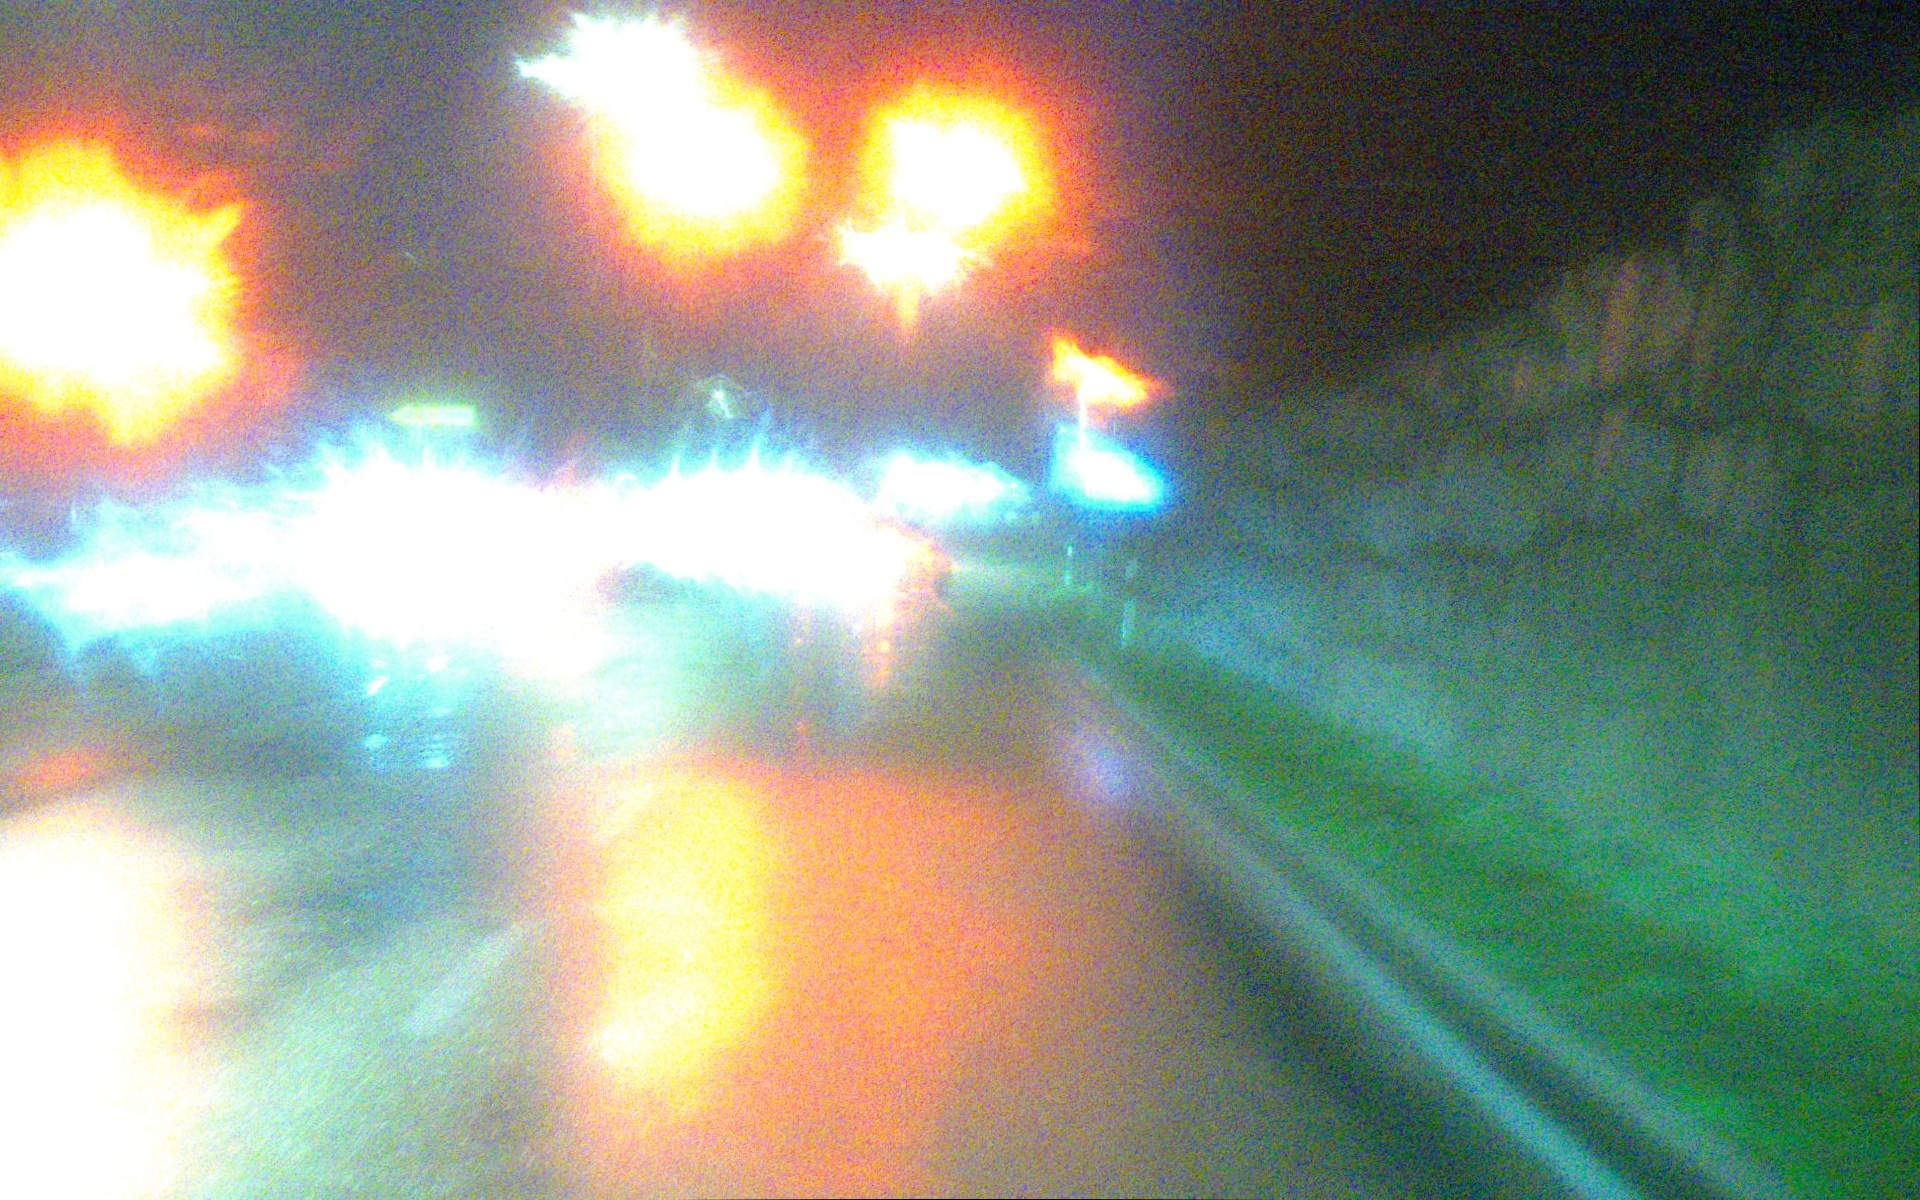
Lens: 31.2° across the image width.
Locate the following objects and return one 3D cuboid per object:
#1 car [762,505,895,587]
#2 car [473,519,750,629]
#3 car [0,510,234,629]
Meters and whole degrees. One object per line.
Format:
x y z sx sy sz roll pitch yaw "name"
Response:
-2.333 -0.978 61.918 1.962 1.423 3.932 0 1 4 "car"
-5.443 -0.438 53.989 1.999 1.656 3.990 1 2 43 "car"
-12.515 -0.451 49.109 3.986 1.656 2.000 0 1 -5 "car"
